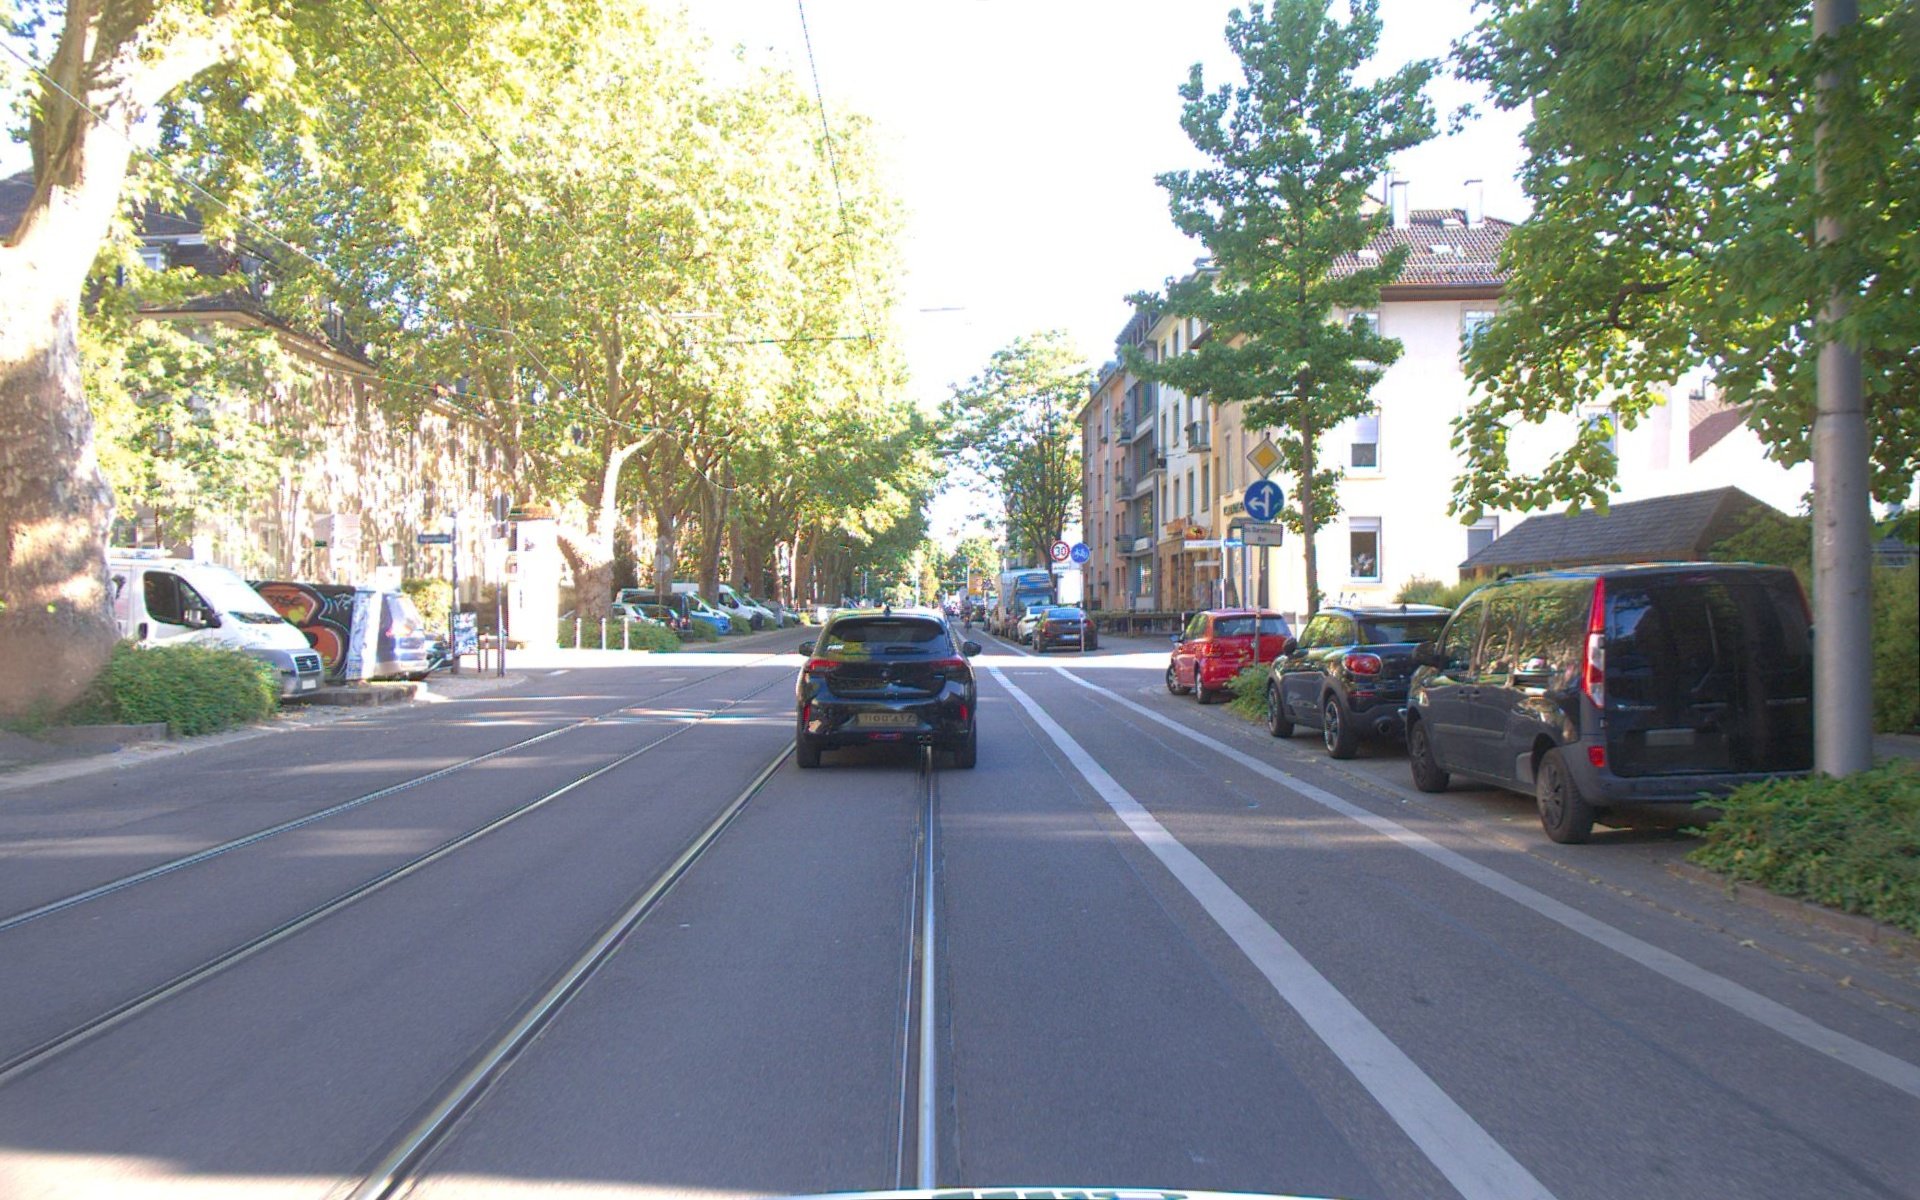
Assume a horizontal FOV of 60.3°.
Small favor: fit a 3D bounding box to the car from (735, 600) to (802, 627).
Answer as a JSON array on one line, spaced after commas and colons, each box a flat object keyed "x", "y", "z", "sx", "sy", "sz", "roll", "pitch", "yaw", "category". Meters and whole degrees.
[{"x": -12.564, "y": 0.875, "z": 108.607, "sx": 4.275, "sy": 1.694, "sz": 1.995, "roll": 1, "pitch": -1, "yaw": -10, "category": "car"}]

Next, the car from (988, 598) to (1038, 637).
[{"x": 2.644, "y": 0.882, "z": 84.243, "sx": 2.208, "sy": 1.873, "sz": 5.529, "roll": -2, "pitch": 0, "yaw": -1, "category": "car"}]

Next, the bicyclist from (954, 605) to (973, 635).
[{"x": 0.169, "y": 1.040, "z": 85.874, "sx": 0.939, "sy": 1.525, "sz": 1.093, "roll": 1, "pitch": -1, "yaw": -3, "category": "bicyclist"}]

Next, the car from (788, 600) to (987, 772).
[{"x": -0.658, "y": 0.766, "z": 16.449, "sx": 1.727, "sy": 1.486, "sz": 3.949, "roll": 1, "pitch": 0, "yaw": -1, "category": "car"}]

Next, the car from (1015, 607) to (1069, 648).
[{"x": 3.097, "y": 1.067, "z": 63.284, "sx": 1.767, "sy": 1.460, "sz": 3.998, "roll": -2, "pitch": -1, "yaw": -1, "category": "car"}]

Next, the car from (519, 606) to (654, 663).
[{"x": -12.560, "y": 1.151, "z": 55.832, "sx": 4.220, "sy": 1.621, "sz": 1.779, "roll": -4, "pitch": 0, "yaw": -9, "category": "car"}]

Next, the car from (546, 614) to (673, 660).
[{"x": -12.342, "y": 1.313, "z": 58.481, "sx": 4.220, "sy": 1.313, "sz": 1.707, "roll": -4, "pitch": 0, "yaw": -9, "category": "car"}]

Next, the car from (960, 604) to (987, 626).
[{"x": 1.165, "y": 1.326, "z": 147.262, "sx": 2.208, "sy": 1.873, "sz": 5.529, "roll": -2, "pitch": 0, "yaw": -1, "category": "car"}]

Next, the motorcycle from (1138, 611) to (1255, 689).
[{"x": 4.482, "y": 0.938, "z": 31.283, "sx": 2.046, "sy": 1.382, "sz": 0.924, "roll": -3, "pitch": -1, "yaw": 15, "category": "motorcycle"}]

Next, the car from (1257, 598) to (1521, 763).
[{"x": 4.595, "y": 0.809, "z": 18.315, "sx": 1.677, "sy": 1.540, "sz": 4.034, "roll": -2, "pitch": 0, "yaw": -2, "category": "car"}]

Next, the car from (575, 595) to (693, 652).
[{"x": -12.334, "y": 0.881, "z": 62.848, "sx": 4.220, "sy": 1.872, "sz": 1.779, "roll": -4, "pitch": 0, "yaw": -9, "category": "car"}]

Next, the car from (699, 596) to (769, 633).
[{"x": -13.037, "y": 0.844, "z": 95.460, "sx": 3.914, "sy": 2.049, "sz": 1.995, "roll": 1, "pitch": -1, "yaw": -10, "category": "car"}]

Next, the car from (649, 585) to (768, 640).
[{"x": -12.478, "y": 0.635, "z": 82.260, "sx": 5.521, "sy": 2.638, "sz": 2.197, "roll": 1, "pitch": -1, "yaw": 3, "category": "car"}]

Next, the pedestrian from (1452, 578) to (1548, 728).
[{"x": 6.525, "y": 0.620, "z": 20.009, "sx": 0.813, "sy": 1.741, "sz": 0.835, "roll": -2, "pitch": 1, "yaw": -2, "category": "pedestrian"}]

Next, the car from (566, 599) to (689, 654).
[{"x": -12.126, "y": 0.978, "z": 60.522, "sx": 4.220, "sy": 1.703, "sz": 1.779, "roll": -4, "pitch": 0, "yaw": -9, "category": "car"}]

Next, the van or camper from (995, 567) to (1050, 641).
[{"x": 2.865, "y": 0.207, "z": 77.056, "sx": 2.208, "sy": 3.272, "sz": 5.529, "roll": -1, "pitch": 0, "yaw": -1, "category": "van or camper"}]

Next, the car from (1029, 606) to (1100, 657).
[{"x": 3.307, "y": 0.980, "z": 53.194, "sx": 1.846, "sy": 1.459, "sz": 4.529, "roll": -3, "pitch": 0, "yaw": -1, "category": "car"}]

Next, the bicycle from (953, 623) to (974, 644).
[{"x": 0.180, "y": 1.727, "z": 85.874, "sx": 0.948, "sy": 1.016, "sz": 2.582, "roll": 1, "pitch": 0, "yaw": -2, "category": "bicycle"}]

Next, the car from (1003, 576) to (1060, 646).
[{"x": 3.011, "y": 0.442, "z": 70.491, "sx": 2.043, "sy": 2.820, "sz": 4.696, "roll": -1, "pitch": 0, "yaw": -1, "category": "car"}]

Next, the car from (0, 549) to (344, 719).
[{"x": -11.691, "y": 0.473, "z": 23.713, "sx": 4.934, "sy": 2.299, "sz": 2.084, "roll": 1, "pitch": 0, "yaw": -5, "category": "car"}]

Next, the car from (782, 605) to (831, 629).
[{"x": -13.419, "y": 1.474, "z": 144.923, "sx": 3.902, "sy": 2.049, "sz": 2.001, "roll": 0, "pitch": -1, "yaw": 5, "category": "car"}]

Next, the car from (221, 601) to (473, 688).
[{"x": -11.876, "y": 0.859, "z": 32.264, "sx": 4.214, "sy": 1.635, "sz": 1.924, "roll": 0, "pitch": 0, "yaw": -4, "category": "car"}]

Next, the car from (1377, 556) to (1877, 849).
[{"x": 4.743, "y": 0.636, "z": 12.634, "sx": 1.847, "sy": 1.797, "sz": 4.677, "roll": -1, "pitch": 0, "yaw": -1, "category": "car"}]

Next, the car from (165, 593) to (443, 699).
[{"x": -11.659, "y": 0.801, "z": 29.635, "sx": 4.214, "sy": 1.833, "sz": 1.924, "roll": 0, "pitch": 0, "yaw": -4, "category": "car"}]

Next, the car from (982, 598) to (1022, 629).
[{"x": 2.645, "y": 0.880, "z": 105.421, "sx": 2.208, "sy": 1.873, "sz": 5.529, "roll": -2, "pitch": 0, "yaw": -1, "category": "car"}]

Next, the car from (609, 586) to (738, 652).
[{"x": -12.013, "y": 0.795, "z": 69.552, "sx": 4.934, "sy": 2.415, "sz": 2.081, "roll": -4, "pitch": 0, "yaw": -1, "category": "car"}]

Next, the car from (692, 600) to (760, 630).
[{"x": -14.589, "y": 0.934, "z": 103.000, "sx": 4.100, "sy": 1.825, "sz": 1.995, "roll": 1, "pitch": -1, "yaw": -10, "category": "car"}]

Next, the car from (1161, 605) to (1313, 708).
[{"x": 4.435, "y": 0.875, "z": 27.029, "sx": 1.668, "sy": 1.448, "sz": 3.977, "roll": -4, "pitch": 0, "yaw": -1, "category": "car"}]
